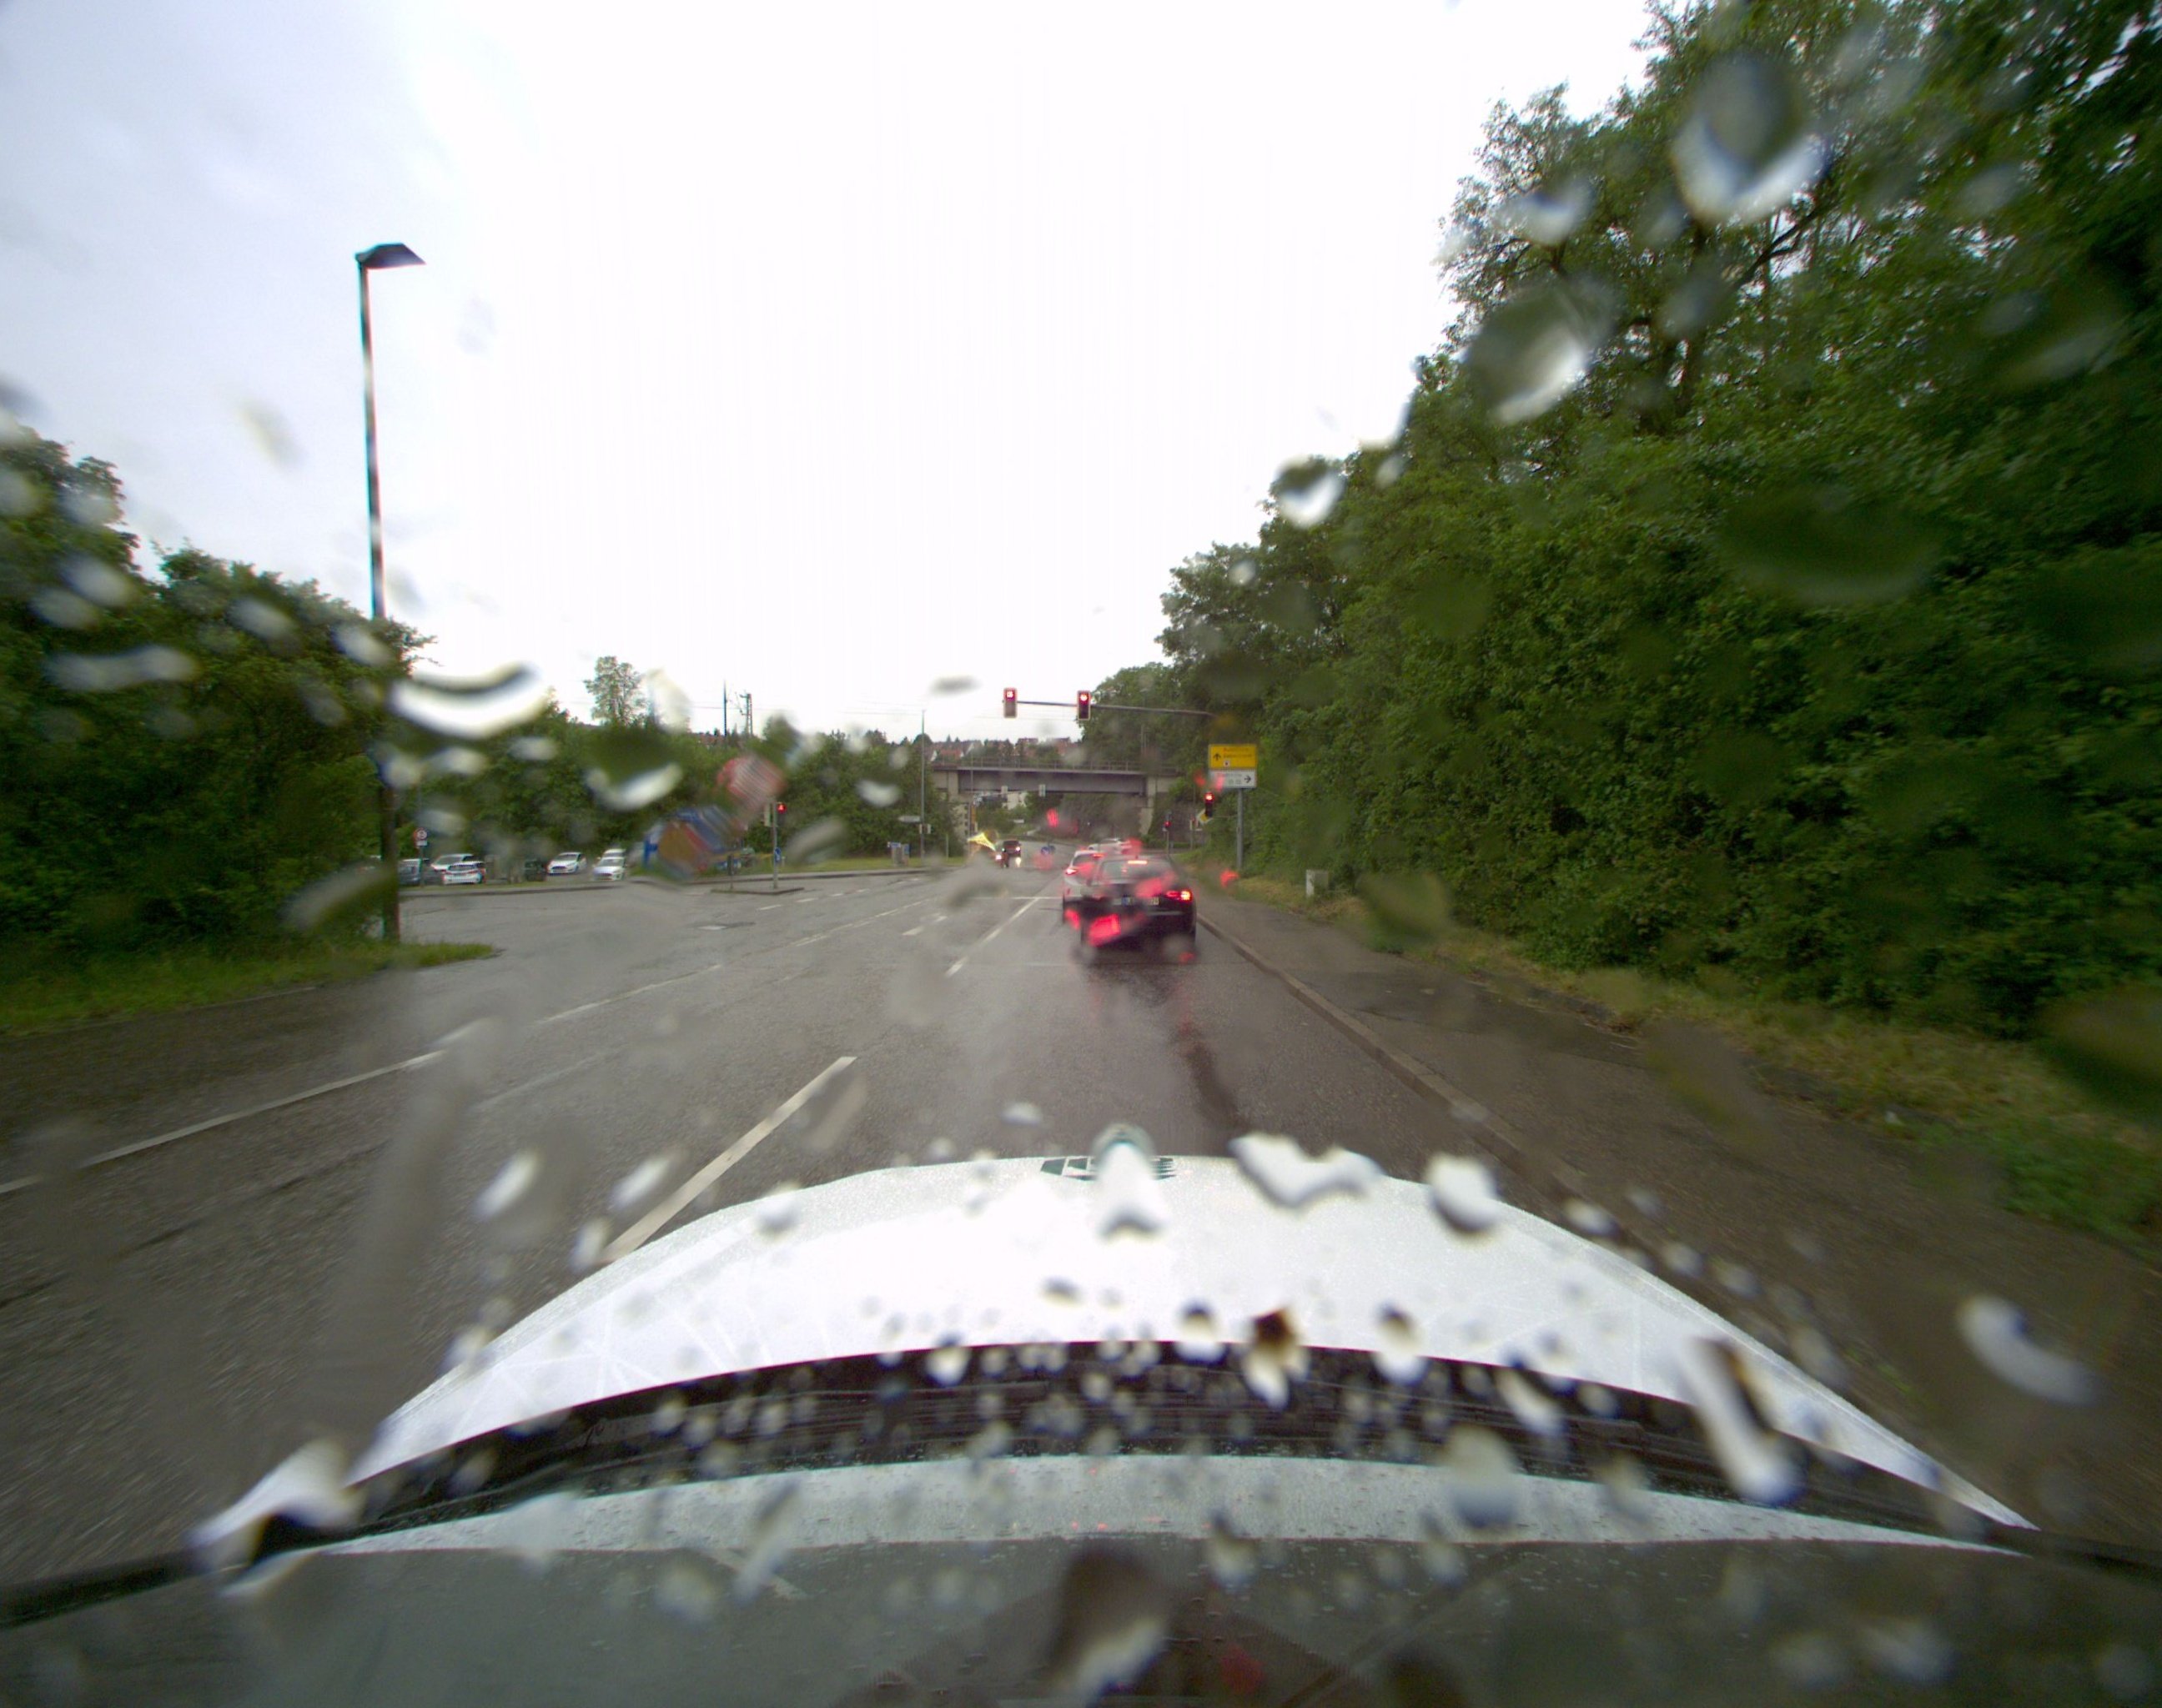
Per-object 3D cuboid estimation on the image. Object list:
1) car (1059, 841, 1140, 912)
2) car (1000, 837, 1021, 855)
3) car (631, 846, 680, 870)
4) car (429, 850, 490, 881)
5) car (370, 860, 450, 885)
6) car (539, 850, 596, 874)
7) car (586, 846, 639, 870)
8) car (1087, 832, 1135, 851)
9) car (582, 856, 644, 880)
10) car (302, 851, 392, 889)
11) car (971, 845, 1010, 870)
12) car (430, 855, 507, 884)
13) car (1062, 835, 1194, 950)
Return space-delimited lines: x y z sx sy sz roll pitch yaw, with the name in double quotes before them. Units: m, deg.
"car" 0.479 0.525 20.362 1.816 1.585 4.001 -1 0 1
"car" -7.004 -0.808 81.322 1.990 1.628 3.993 -1 1 -5
"car" -30.358 0.245 58.188 1.995 1.585 3.985 -2 1 -11
"car" -42.115 0.764 55.303 1.941 2.013 3.849 0 1 -15
"car" -37.120 1.018 45.180 1.751 1.310 3.984 0 0 -11
"car" -35.193 0.520 55.926 1.994 1.585 3.984 0 0 -11
"car" -32.591 0.257 56.781 1.995 1.585 3.985 -2 1 -11
"car" 2.947 -1.223 81.070 4.422 1.742 1.822 -1 -1 33
"car" -27.692 0.811 48.339 1.652 1.340 4.883 0 0 -11
"car" -39.395 0.823 43.829 1.997 1.949 3.978 0 -1 -16
"car" -5.987 0.222 54.366 1.986 1.585 4.001 -1 0 1
"car" -34.565 0.862 46.100 1.937 1.585 3.892 0 0 -11
"car" 0.726 0.496 13.598 1.863 1.616 4.002 -1 1 1
